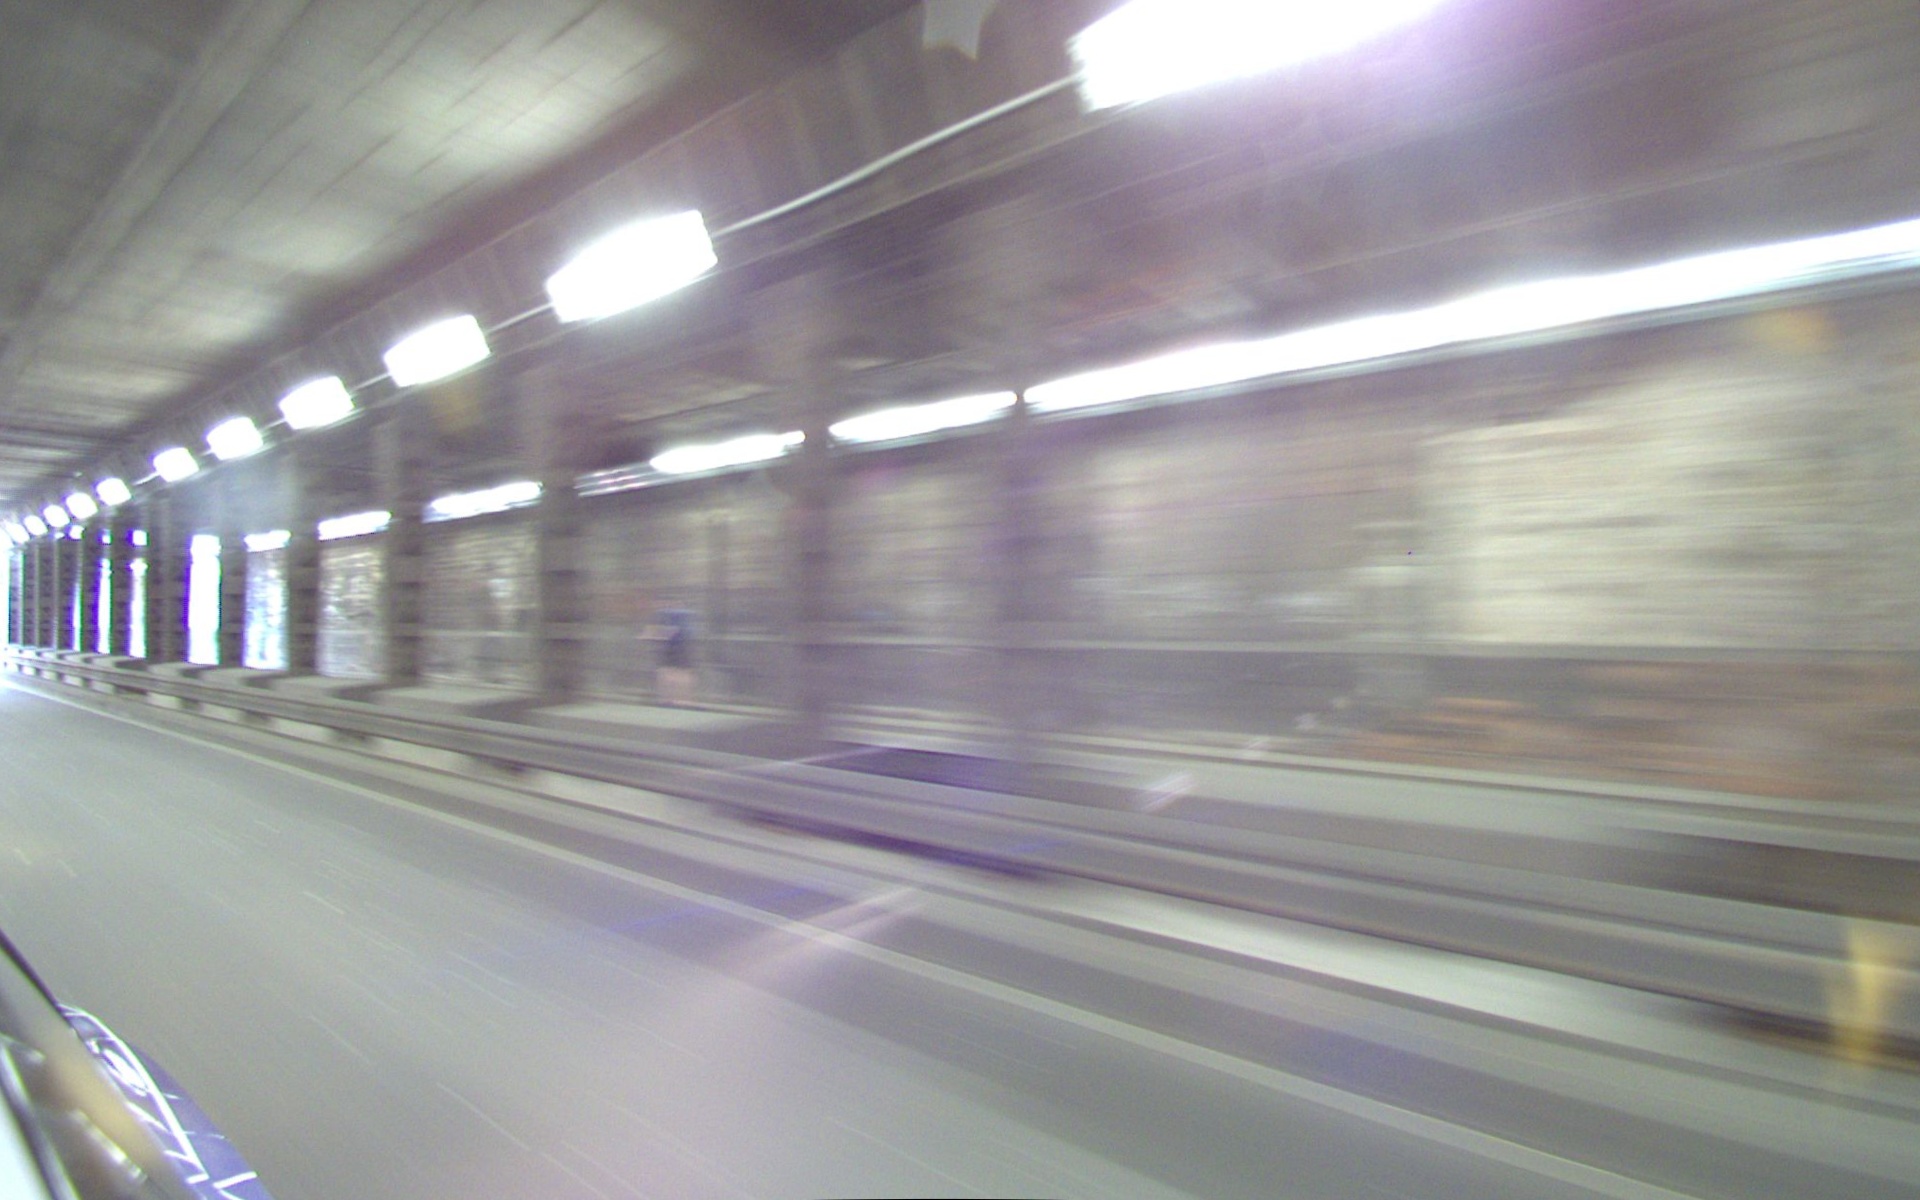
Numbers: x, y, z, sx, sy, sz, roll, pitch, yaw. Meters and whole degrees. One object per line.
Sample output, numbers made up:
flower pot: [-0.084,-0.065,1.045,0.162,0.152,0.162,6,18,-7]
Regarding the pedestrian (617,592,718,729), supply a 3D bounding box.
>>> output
pedestrian: [-4.663,0.918,16.112,1.355,2.071,0.948,0,-1,42]
